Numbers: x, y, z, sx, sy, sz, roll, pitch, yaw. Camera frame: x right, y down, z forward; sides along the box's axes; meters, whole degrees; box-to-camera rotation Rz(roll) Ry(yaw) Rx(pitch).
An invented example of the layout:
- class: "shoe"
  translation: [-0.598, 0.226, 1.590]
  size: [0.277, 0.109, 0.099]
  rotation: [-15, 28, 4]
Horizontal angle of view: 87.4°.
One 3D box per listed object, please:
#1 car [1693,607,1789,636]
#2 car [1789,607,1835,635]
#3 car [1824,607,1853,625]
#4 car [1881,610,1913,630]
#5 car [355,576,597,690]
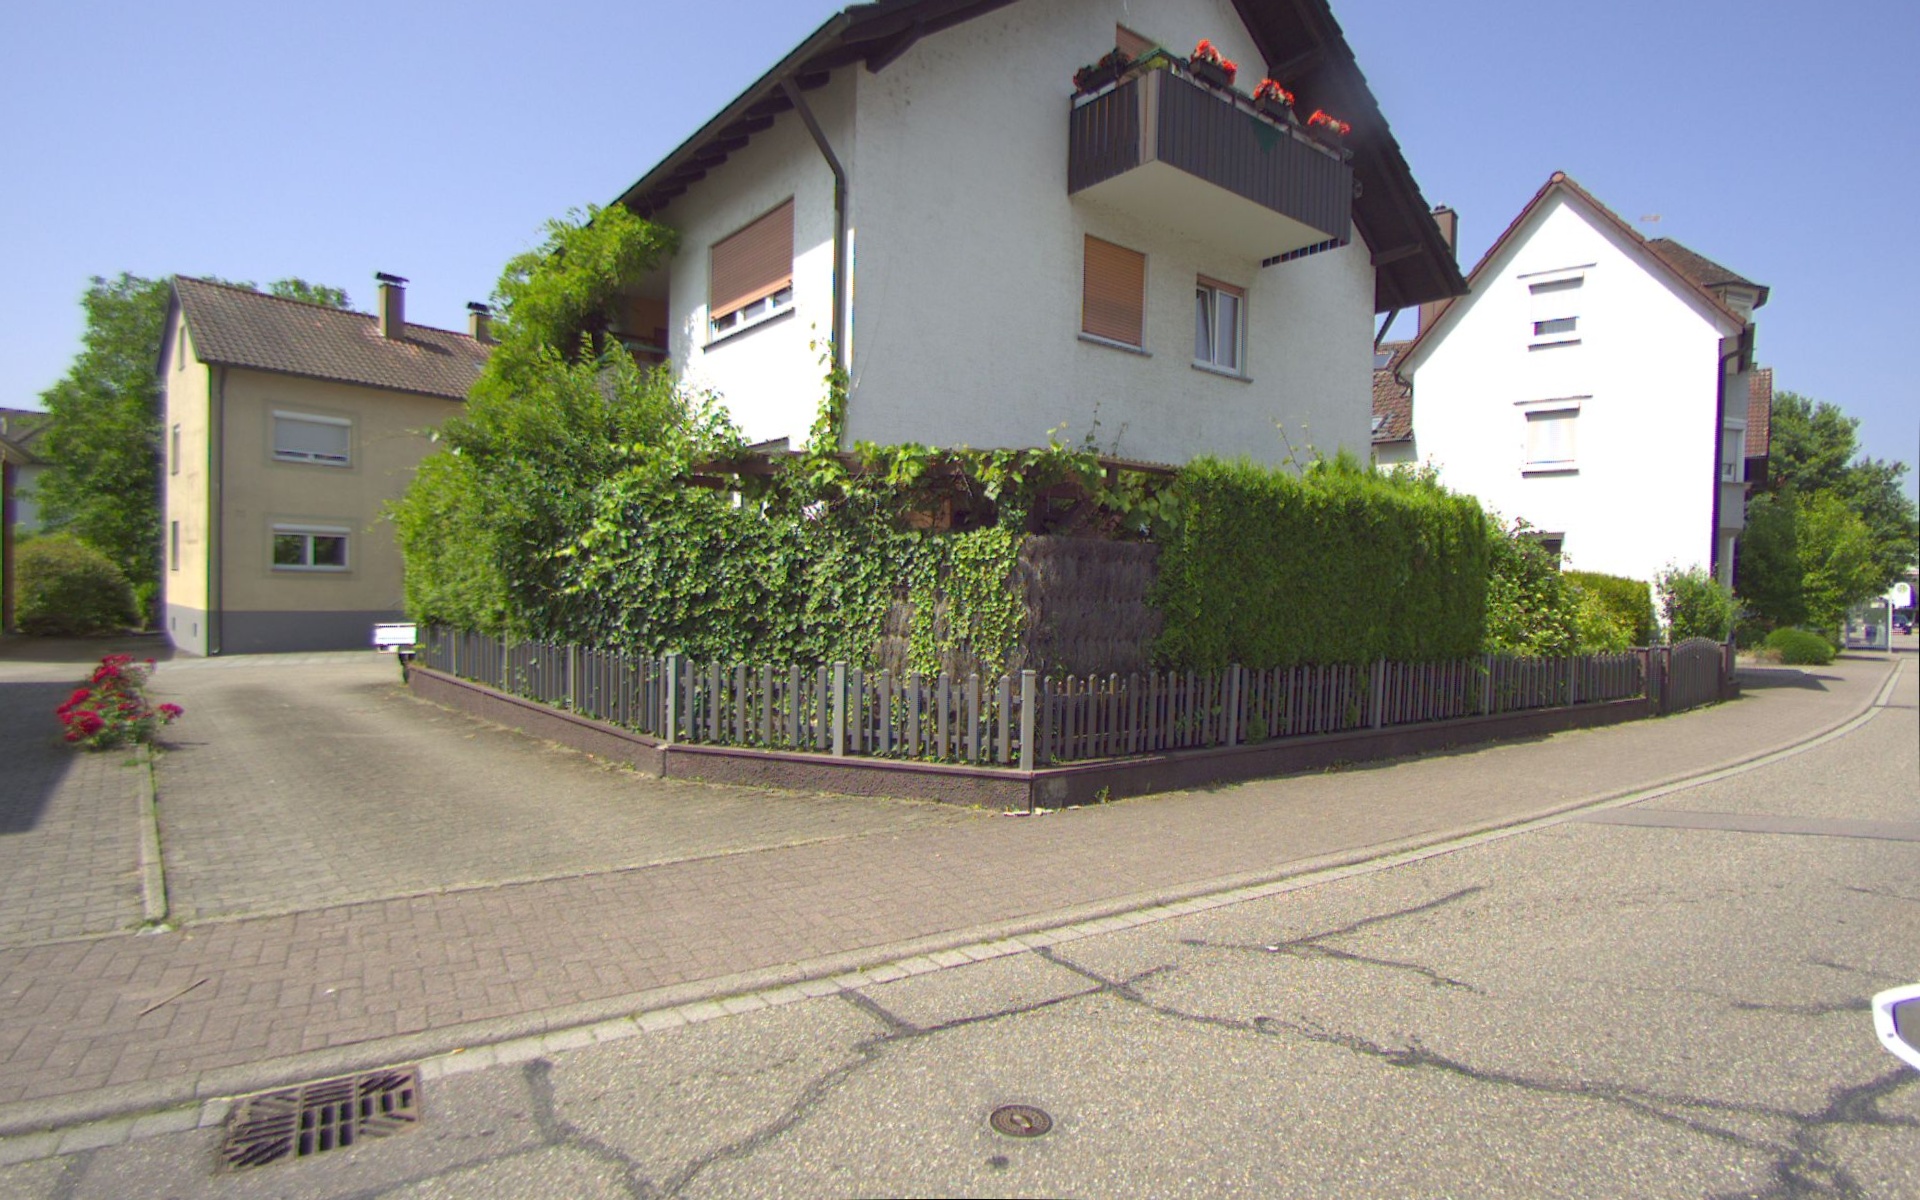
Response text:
- class: "car"
  translation: [43.006, 1.180, 55.339]
  size: [4.111, 1.559, 1.765]
  rotation: [-1, 0, 40]
- class: "car"
  translation: [47.903, 1.168, 56.522]
  size: [1.756, 1.454, 4.038]
  rotation: [2, 1, 38]
- class: "car"
  translation: [78.458, 1.432, 89.746]
  size: [1.605, 1.506, 3.986]
  rotation: [0, 0, 35]
- class: "car"
  translation: [77.604, 1.641, 83.157]
  size: [4.078, 1.645, 1.758]
  rotation: [1, 0, -44]
- class: "car"
  translation: [-8.462, 0.600, 18.130]
  size: [1.694, 1.779, 4.677]
  rotation: [0, -2, 6]
